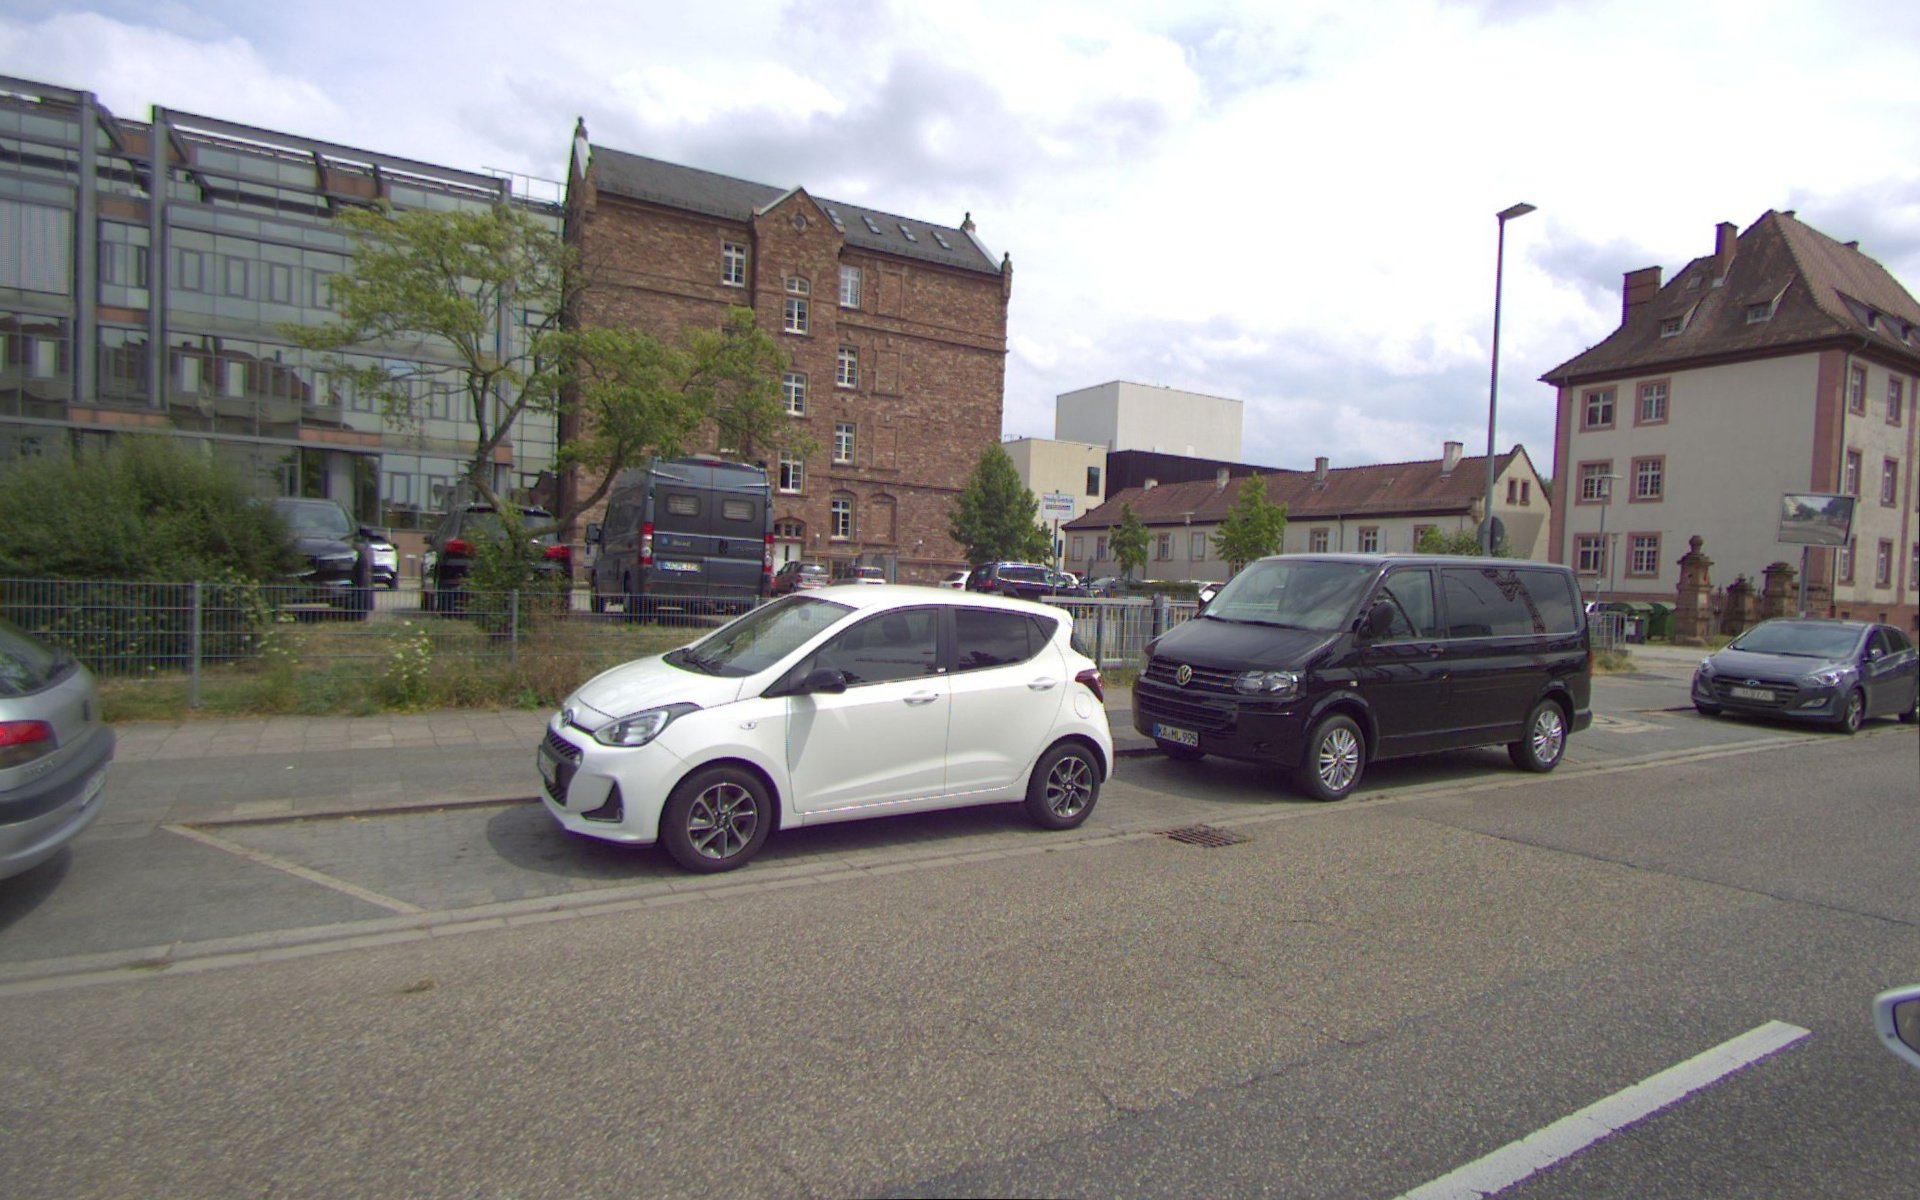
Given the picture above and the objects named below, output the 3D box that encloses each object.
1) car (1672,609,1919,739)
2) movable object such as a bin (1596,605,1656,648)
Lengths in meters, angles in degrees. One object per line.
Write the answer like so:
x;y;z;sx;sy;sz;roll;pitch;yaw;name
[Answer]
12.367;0.984;14.524;4.250;1.493;1.812;2;3;-32;car
24.243;0.967;36.570;1.551;1.487;1.196;2;1;-29;movable object such as a bin
